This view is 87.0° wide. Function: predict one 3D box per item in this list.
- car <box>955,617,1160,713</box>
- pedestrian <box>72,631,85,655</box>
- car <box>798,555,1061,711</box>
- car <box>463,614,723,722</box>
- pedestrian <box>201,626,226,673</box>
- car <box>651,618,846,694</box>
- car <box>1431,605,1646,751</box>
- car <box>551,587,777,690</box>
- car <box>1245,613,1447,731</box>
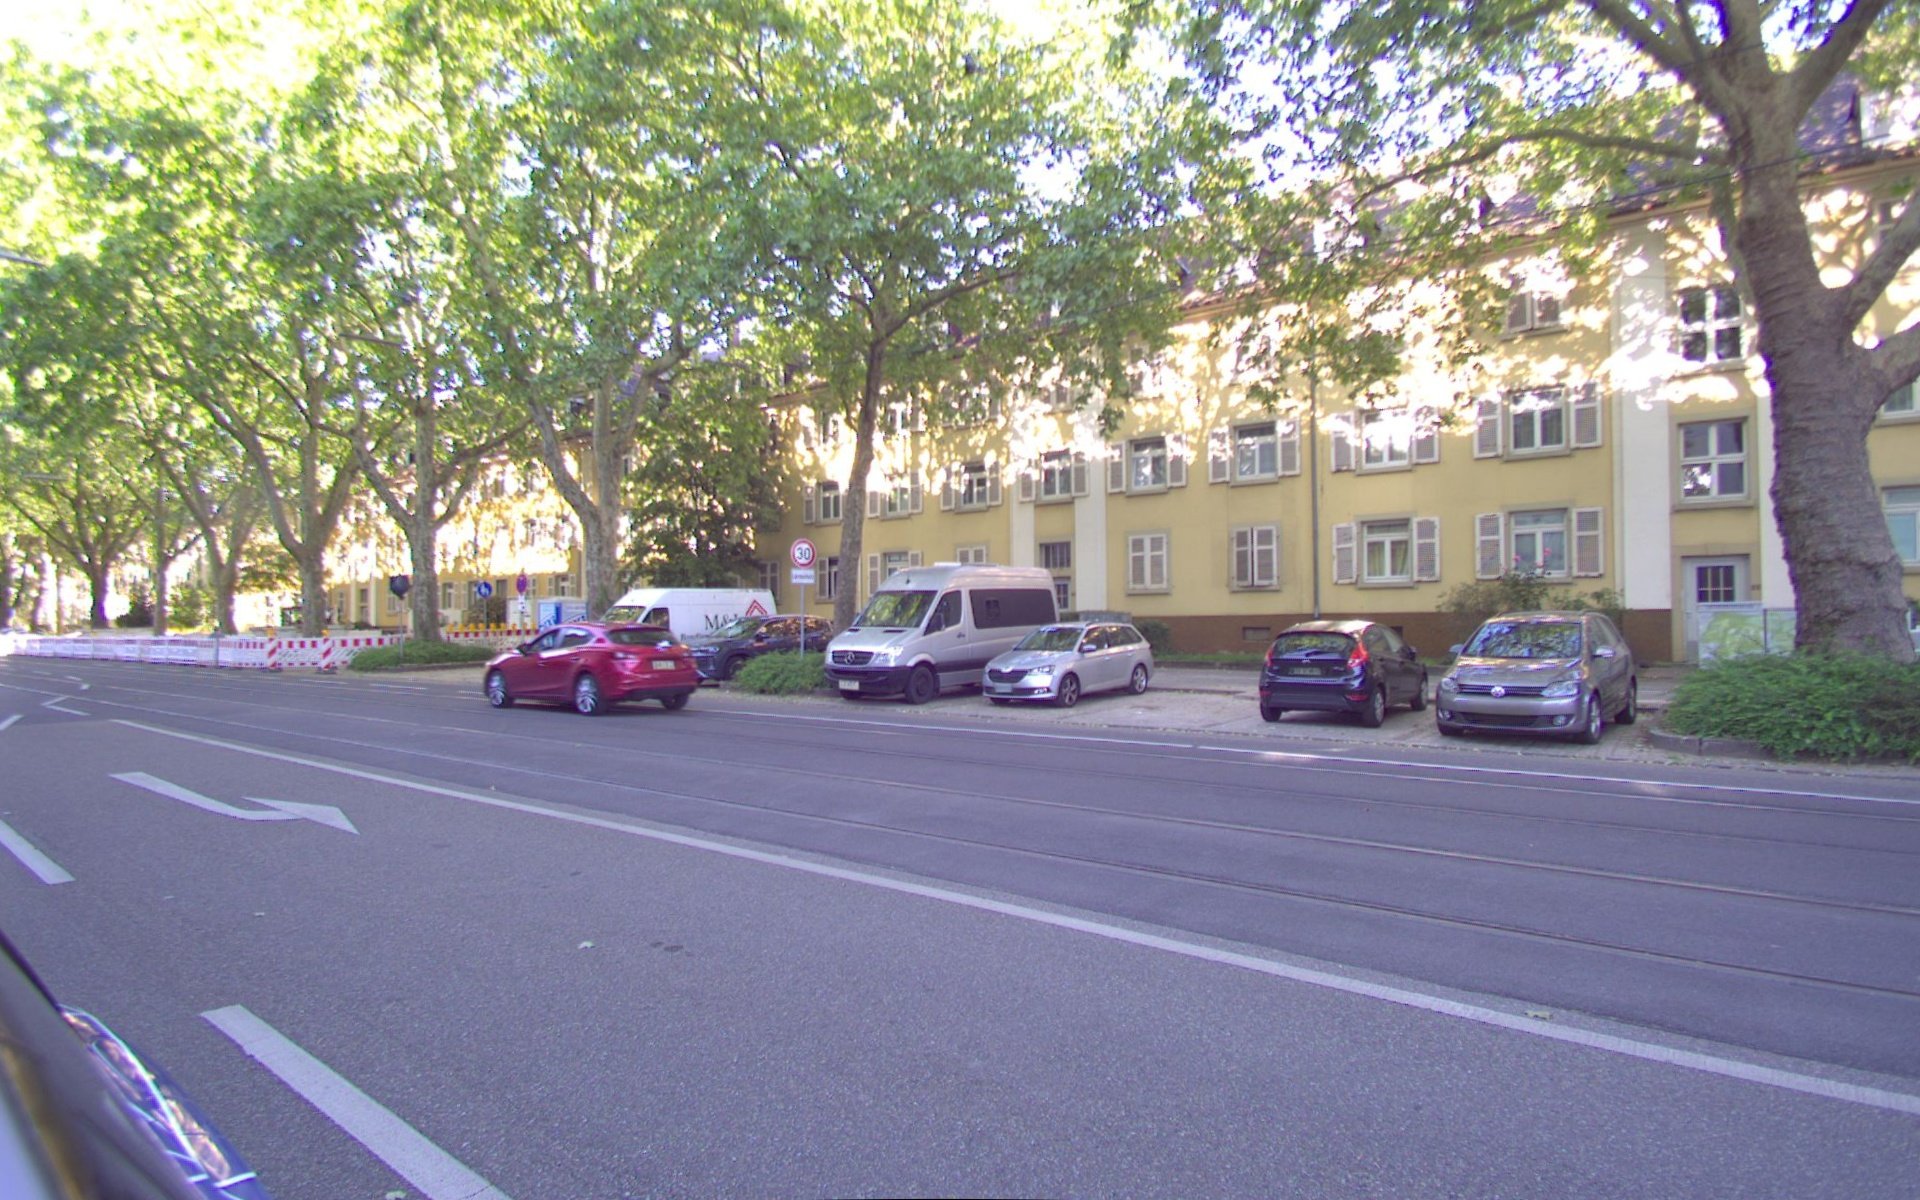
[{"bbox_3d":[1.911,1.118,18.834,1.773,1.509,4.031,-2,-1,41],"label":"car"},{"bbox_3d":[-69.190,3.369,79.414,0.722,1.900,0.666,-1,0,-42],"label":"pedestrian"},{"bbox_3d":[-0.428,0.605,20.446,2.221,2.702,5.596,-2,-1,38],"label":"car"},{"bbox_3d":[-6.235,1.062,16.987,4.484,1.577,1.997,-2,-2,37],"label":"car"},{"bbox_3d":[-29.036,1.911,39.351,0.582,1.759,0.644,-1,0,37],"label":"pedestrian"},{"bbox_3d":[-4.980,1.273,24.447,1.772,1.664,4.570,-2,-2,38],"label":"car"},{"bbox_3d":[7.742,0.895,13.366,1.672,1.592,3.928,-2,-1,42],"label":"car"},{"bbox_3d":[-7.562,0.961,26.373,2.222,2.394,5.336,-2,-2,40],"label":"car"},{"bbox_3d":[5.965,0.998,15.417,1.671,1.509,3.756,-2,-1,41],"label":"car"}]
